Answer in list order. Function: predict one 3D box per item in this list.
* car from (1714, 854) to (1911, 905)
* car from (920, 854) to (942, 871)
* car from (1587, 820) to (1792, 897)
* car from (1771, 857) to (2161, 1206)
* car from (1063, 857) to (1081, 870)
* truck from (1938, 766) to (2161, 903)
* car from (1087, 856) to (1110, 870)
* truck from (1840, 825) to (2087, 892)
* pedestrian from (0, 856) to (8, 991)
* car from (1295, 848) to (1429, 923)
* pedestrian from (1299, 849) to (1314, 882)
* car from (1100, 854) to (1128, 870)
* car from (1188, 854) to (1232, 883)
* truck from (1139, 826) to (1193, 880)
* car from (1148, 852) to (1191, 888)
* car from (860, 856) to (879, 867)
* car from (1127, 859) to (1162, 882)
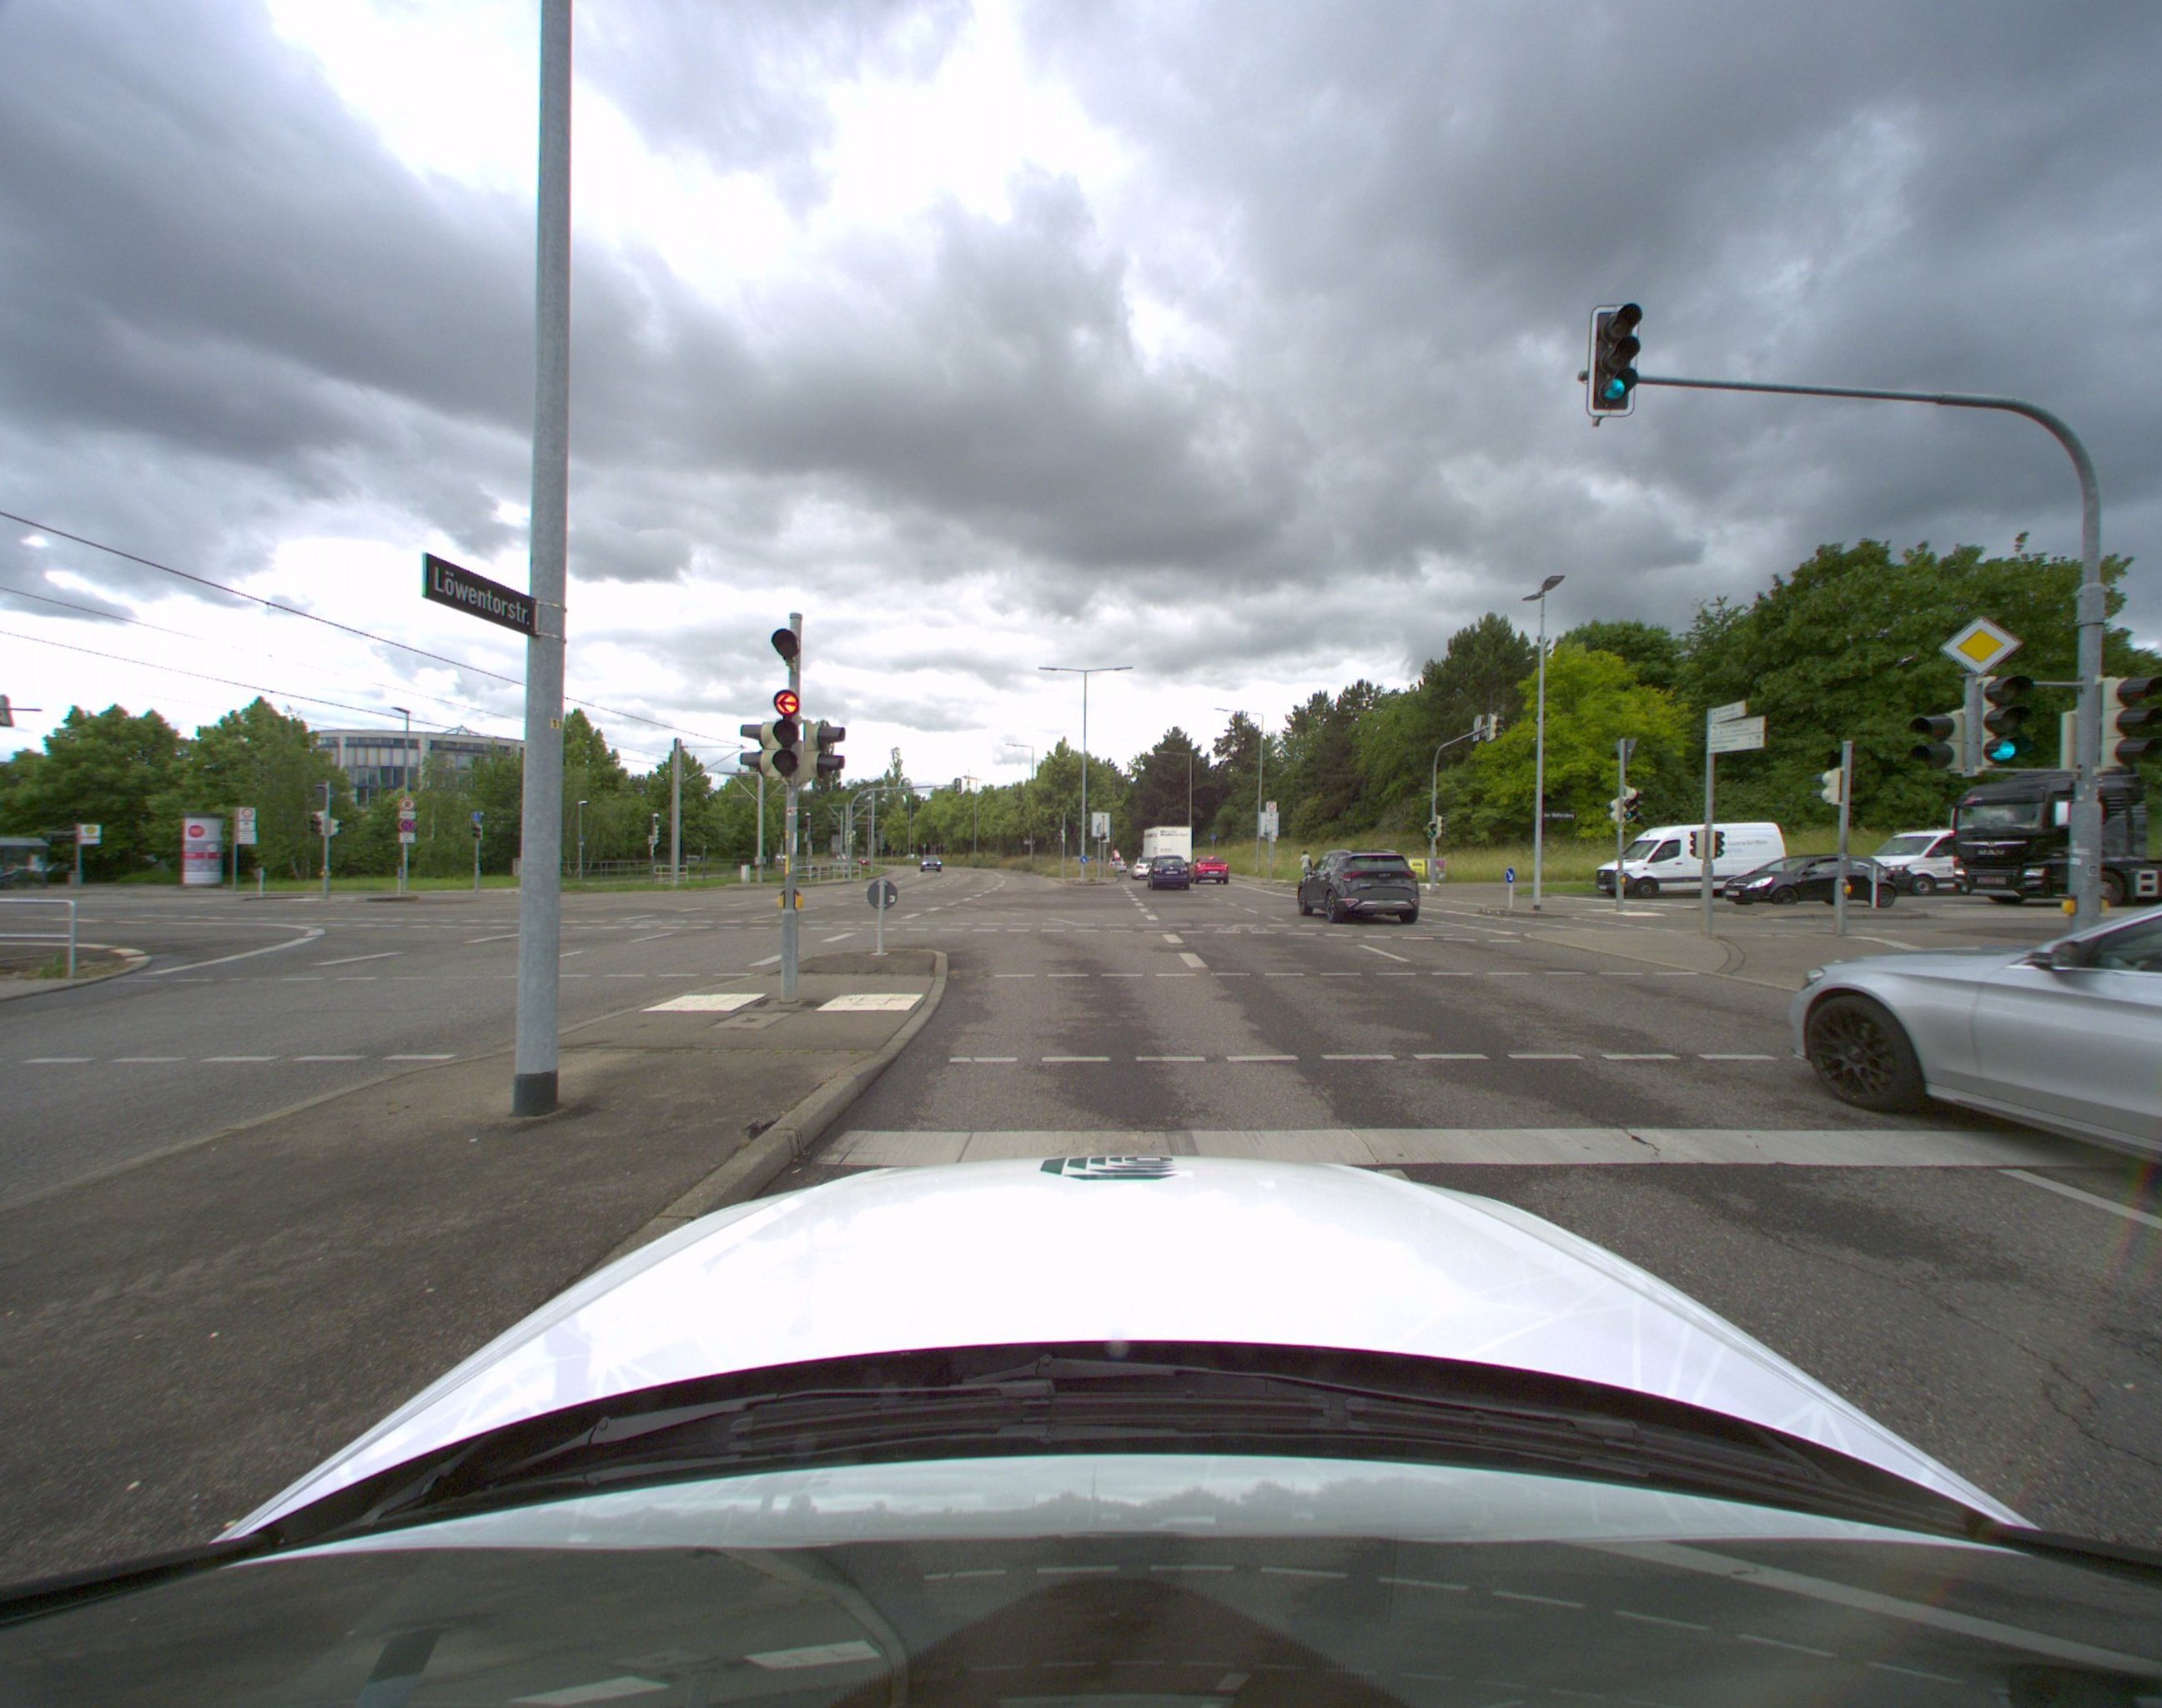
[{"bbox_3d":[20.285,0.702,22.714,3.859,1.338,1.698,0,-1,4],"label":"car"},{"bbox_3d":[-14.603,0.850,79.185,1.798,1.587,3.979,0,-1,-15],"label":"car"},{"bbox_3d":[21.801,0.168,29.387,5.780,2.630,2.002,0,-1,3],"label":"car"},{"bbox_3d":[5.366,0.732,3.142,1.764,1.451,4.402,0,-1,2],"label":"car"},{"bbox_3d":[-1.099,1.122,99.787,1.584,1.493,3.430,0,0,-11],"label":"car"},{"bbox_3d":[27.992,-0.519,22.285,5.971,3.486,2.694,-1,-1,4],"label":"truck"},{"bbox_3d":[1.916,1.028,90.986,1.626,1.493,3.819,0,0,-14],"label":"car"},{"bbox_3d":[30.927,0.175,28.717,5.992,2.230,2.165,0,-1,5],"label":"truck"},{"bbox_3d":[-12.592,0.791,8.944,0.632,1.536,0.719,0,-1,-2],"label":"pedestrian"},{"bbox_3d":[6.395,0.673,19.022,1.786,1.530,4.220,0,-1,2],"label":"car"},{"bbox_3d":[11.578,0.587,41.877,0.640,1.662,0.715,0,-1,8],"label":"pedestrian"},{"bbox_3d":[3.186,0.761,78.929,1.823,1.506,3.478,0,-1,-13],"label":"car"},{"bbox_3d":[7.067,0.765,44.894,1.840,1.530,4.378,0,0,2],"label":"car"},{"bbox_3d":[6.557,-0.114,64.380,2.796,3.903,10.173,0,0,-2],"label":"truck"},{"bbox_3d":[4.126,0.752,38.403,1.658,1.598,3.997,0,-1,1],"label":"car"},{"bbox_3d":[-33.730,1.187,129.723,1.884,1.791,3.960,0,-1,-32],"label":"car"},{"bbox_3d":[4.077,1.053,52.743,1.795,1.412,4.314,0,-1,-2],"label":"car"}]
